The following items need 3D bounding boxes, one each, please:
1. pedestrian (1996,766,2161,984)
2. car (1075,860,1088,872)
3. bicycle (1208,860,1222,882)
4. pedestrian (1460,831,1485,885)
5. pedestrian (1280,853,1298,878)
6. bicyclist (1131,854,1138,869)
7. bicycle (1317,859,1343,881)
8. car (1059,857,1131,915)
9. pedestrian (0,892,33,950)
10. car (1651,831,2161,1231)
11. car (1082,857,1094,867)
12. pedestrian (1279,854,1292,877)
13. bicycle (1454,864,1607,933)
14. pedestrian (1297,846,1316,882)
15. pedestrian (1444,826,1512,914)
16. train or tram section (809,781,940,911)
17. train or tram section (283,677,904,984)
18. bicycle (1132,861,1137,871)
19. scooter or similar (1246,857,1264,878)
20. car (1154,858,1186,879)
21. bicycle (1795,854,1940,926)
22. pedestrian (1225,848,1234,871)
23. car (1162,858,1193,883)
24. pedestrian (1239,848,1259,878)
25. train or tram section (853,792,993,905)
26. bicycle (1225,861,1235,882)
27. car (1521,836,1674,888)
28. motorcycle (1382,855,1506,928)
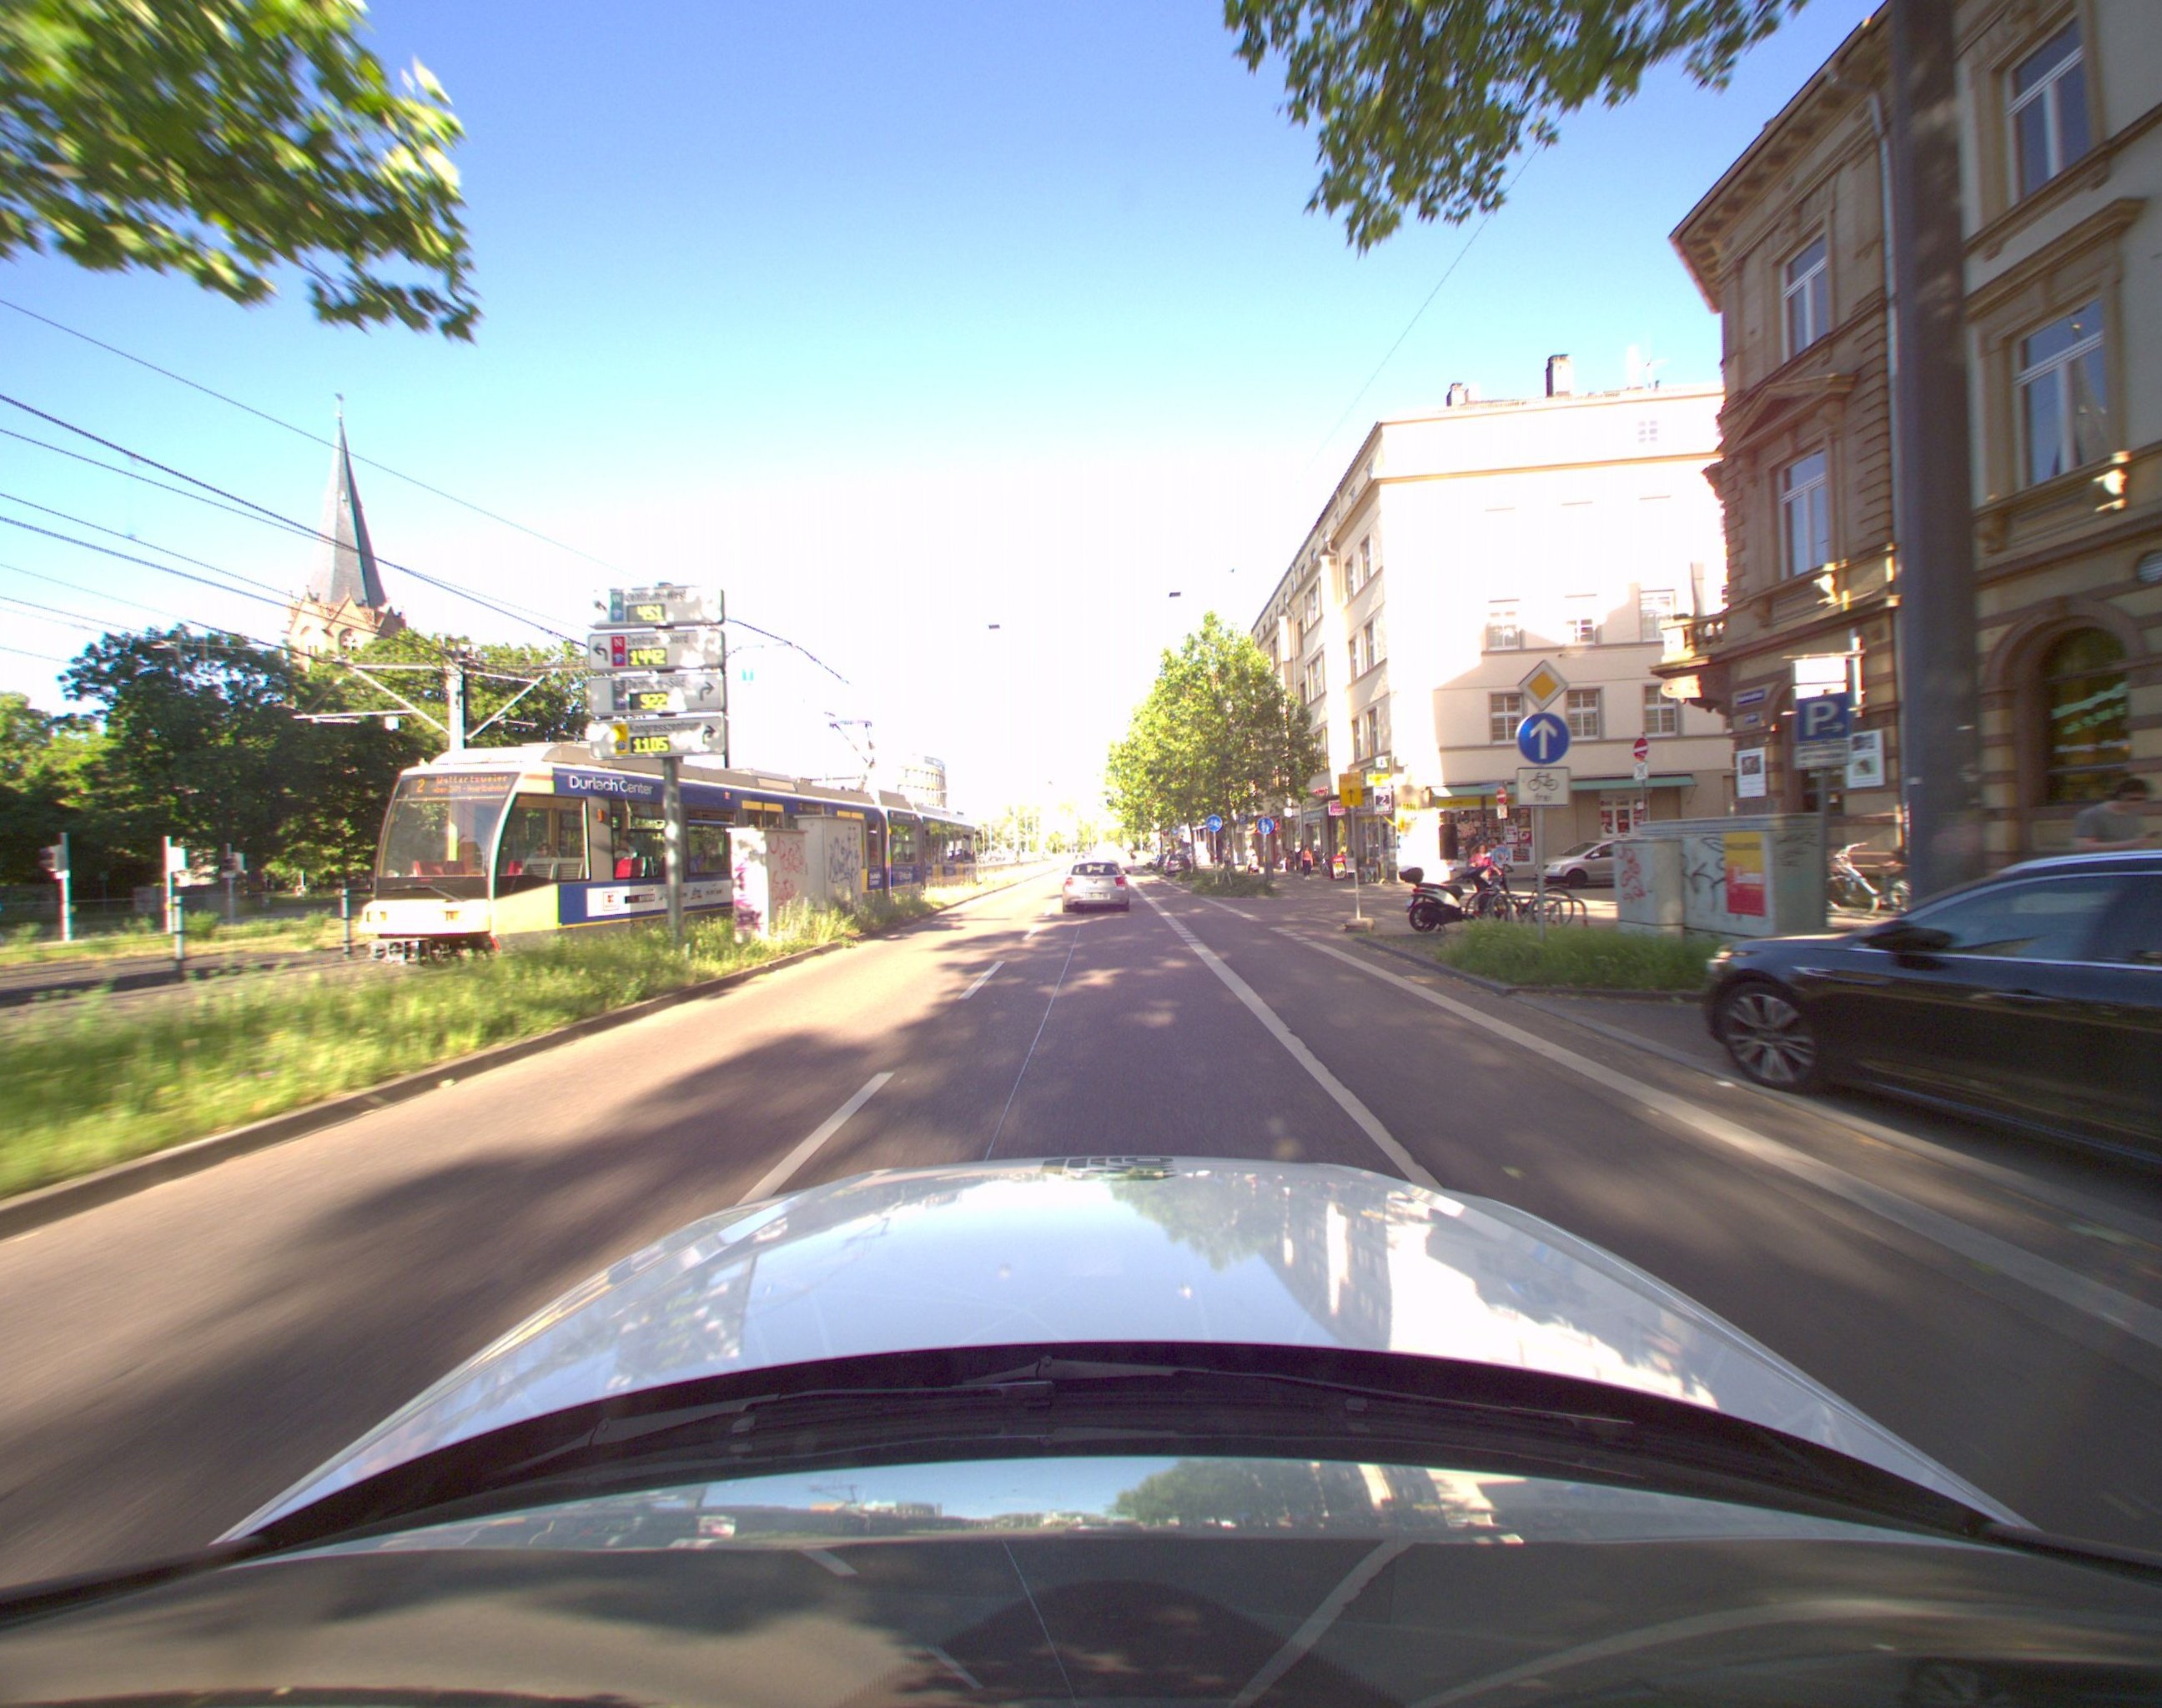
[{"bbox_3d":[9.020,0.176,7.285,0.641,1.827,0.895,0,-1,0],"label":"pedestrian"},{"bbox_3d":[0.051,1.640,111.605,1.721,1.470,4.408,-2,-1,-1],"label":"car"},{"bbox_3d":[7.662,0.976,46.706,0.391,1.215,1.901,-3,-2,-2],"label":"bicycle"},{"bbox_3d":[13.831,0.147,28.788,0.551,1.903,0.586,0,-1,-10],"label":"pedestrian"},{"bbox_3d":[12.124,0.672,47.424,0.782,1.369,0.857,-3,-1,2],"label":"pedestrian"},{"bbox_3d":[5.633,0.771,85.638,0.782,1.531,0.895,0,-1,2],"label":"bicyclist"},{"bbox_3d":[12.008,0.762,39.325,0.488,1.024,2.623,-2,0,1],"label":"bicycle"},{"bbox_3d":[0.417,0.837,22.774,1.791,1.415,4.001,-1,-1,1],"label":"car"},{"bbox_3d":[-34.203,2.128,25.836,0.759,1.773,0.918,0,-1,-21],"label":"pedestrian"},{"bbox_3d":[5.006,0.671,3.541,1.812,1.515,4.708,0,-1,1],"label":"car"},{"bbox_3d":[1.090,1.149,119.157,1.638,1.421,4.002,-1,-1,2],"label":"car"},{"bbox_3d":[12.134,0.680,48.308,0.533,1.332,0.821,-3,-1,2],"label":"pedestrian"},{"bbox_3d":[7.325,0.724,13.306,2.213,1.093,0.456,0,-1,2],"label":"bicycle"},{"bbox_3d":[10.239,0.449,37.001,0.680,1.621,0.562,-2,-1,-1],"label":"pedestrian"},{"bbox_3d":[9.280,0.372,19.078,1.083,2.014,1.047,0,-1,2],"label":"pedestrian"},{"bbox_3d":[-6.531,-0.208,26.348,2.941,3.897,3.871,0,-1,5],"label":"train or tram section"},{"bbox_3d":[-7.736,-0.214,17.340,2.912,3.812,14.306,0,-1,8],"label":"train or tram section"},{"bbox_3d":[5.648,1.277,85.556,0.497,1.088,1.998,0,-1,2],"label":"bicycle"},{"bbox_3d":[9.870,0.759,46.192,0.742,1.172,0.848,-2,-1,-2],"label":"scooter or similar"},{"bbox_3d":[6.814,1.086,62.820,2.031,1.509,4.595,-2,0,2],"label":"car"},{"bbox_3d":[11.930,0.518,12.437,0.413,0.997,1.883,-2,-1,2],"label":"bicycle"},{"bbox_3d":[11.234,0.433,61.645,0.556,1.711,0.770,-2,0,2],"label":"pedestrian"},{"bbox_3d":[6.514,1.097,55.231,1.688,1.502,3.803,-4,0,2],"label":"car"},{"bbox_3d":[9.744,0.540,47.262,0.856,1.705,0.916,-2,-1,-1],"label":"pedestrian"},{"bbox_3d":[-6.076,-0.129,33.632,2.939,3.897,10.813,0,-1,4],"label":"train or tram section"},{"bbox_3d":[8.605,0.992,47.052,0.382,1.207,1.881,-1,0,16],"label":"bicycle"},{"bbox_3d":[16.951,0.263,26.878,3.920,1.474,1.668,-2,0,5],"label":"car"},{"bbox_3d":[6.302,0.646,14.190,1.944,1.231,0.515,0,-1,-2],"label":"motorcycle"}]
